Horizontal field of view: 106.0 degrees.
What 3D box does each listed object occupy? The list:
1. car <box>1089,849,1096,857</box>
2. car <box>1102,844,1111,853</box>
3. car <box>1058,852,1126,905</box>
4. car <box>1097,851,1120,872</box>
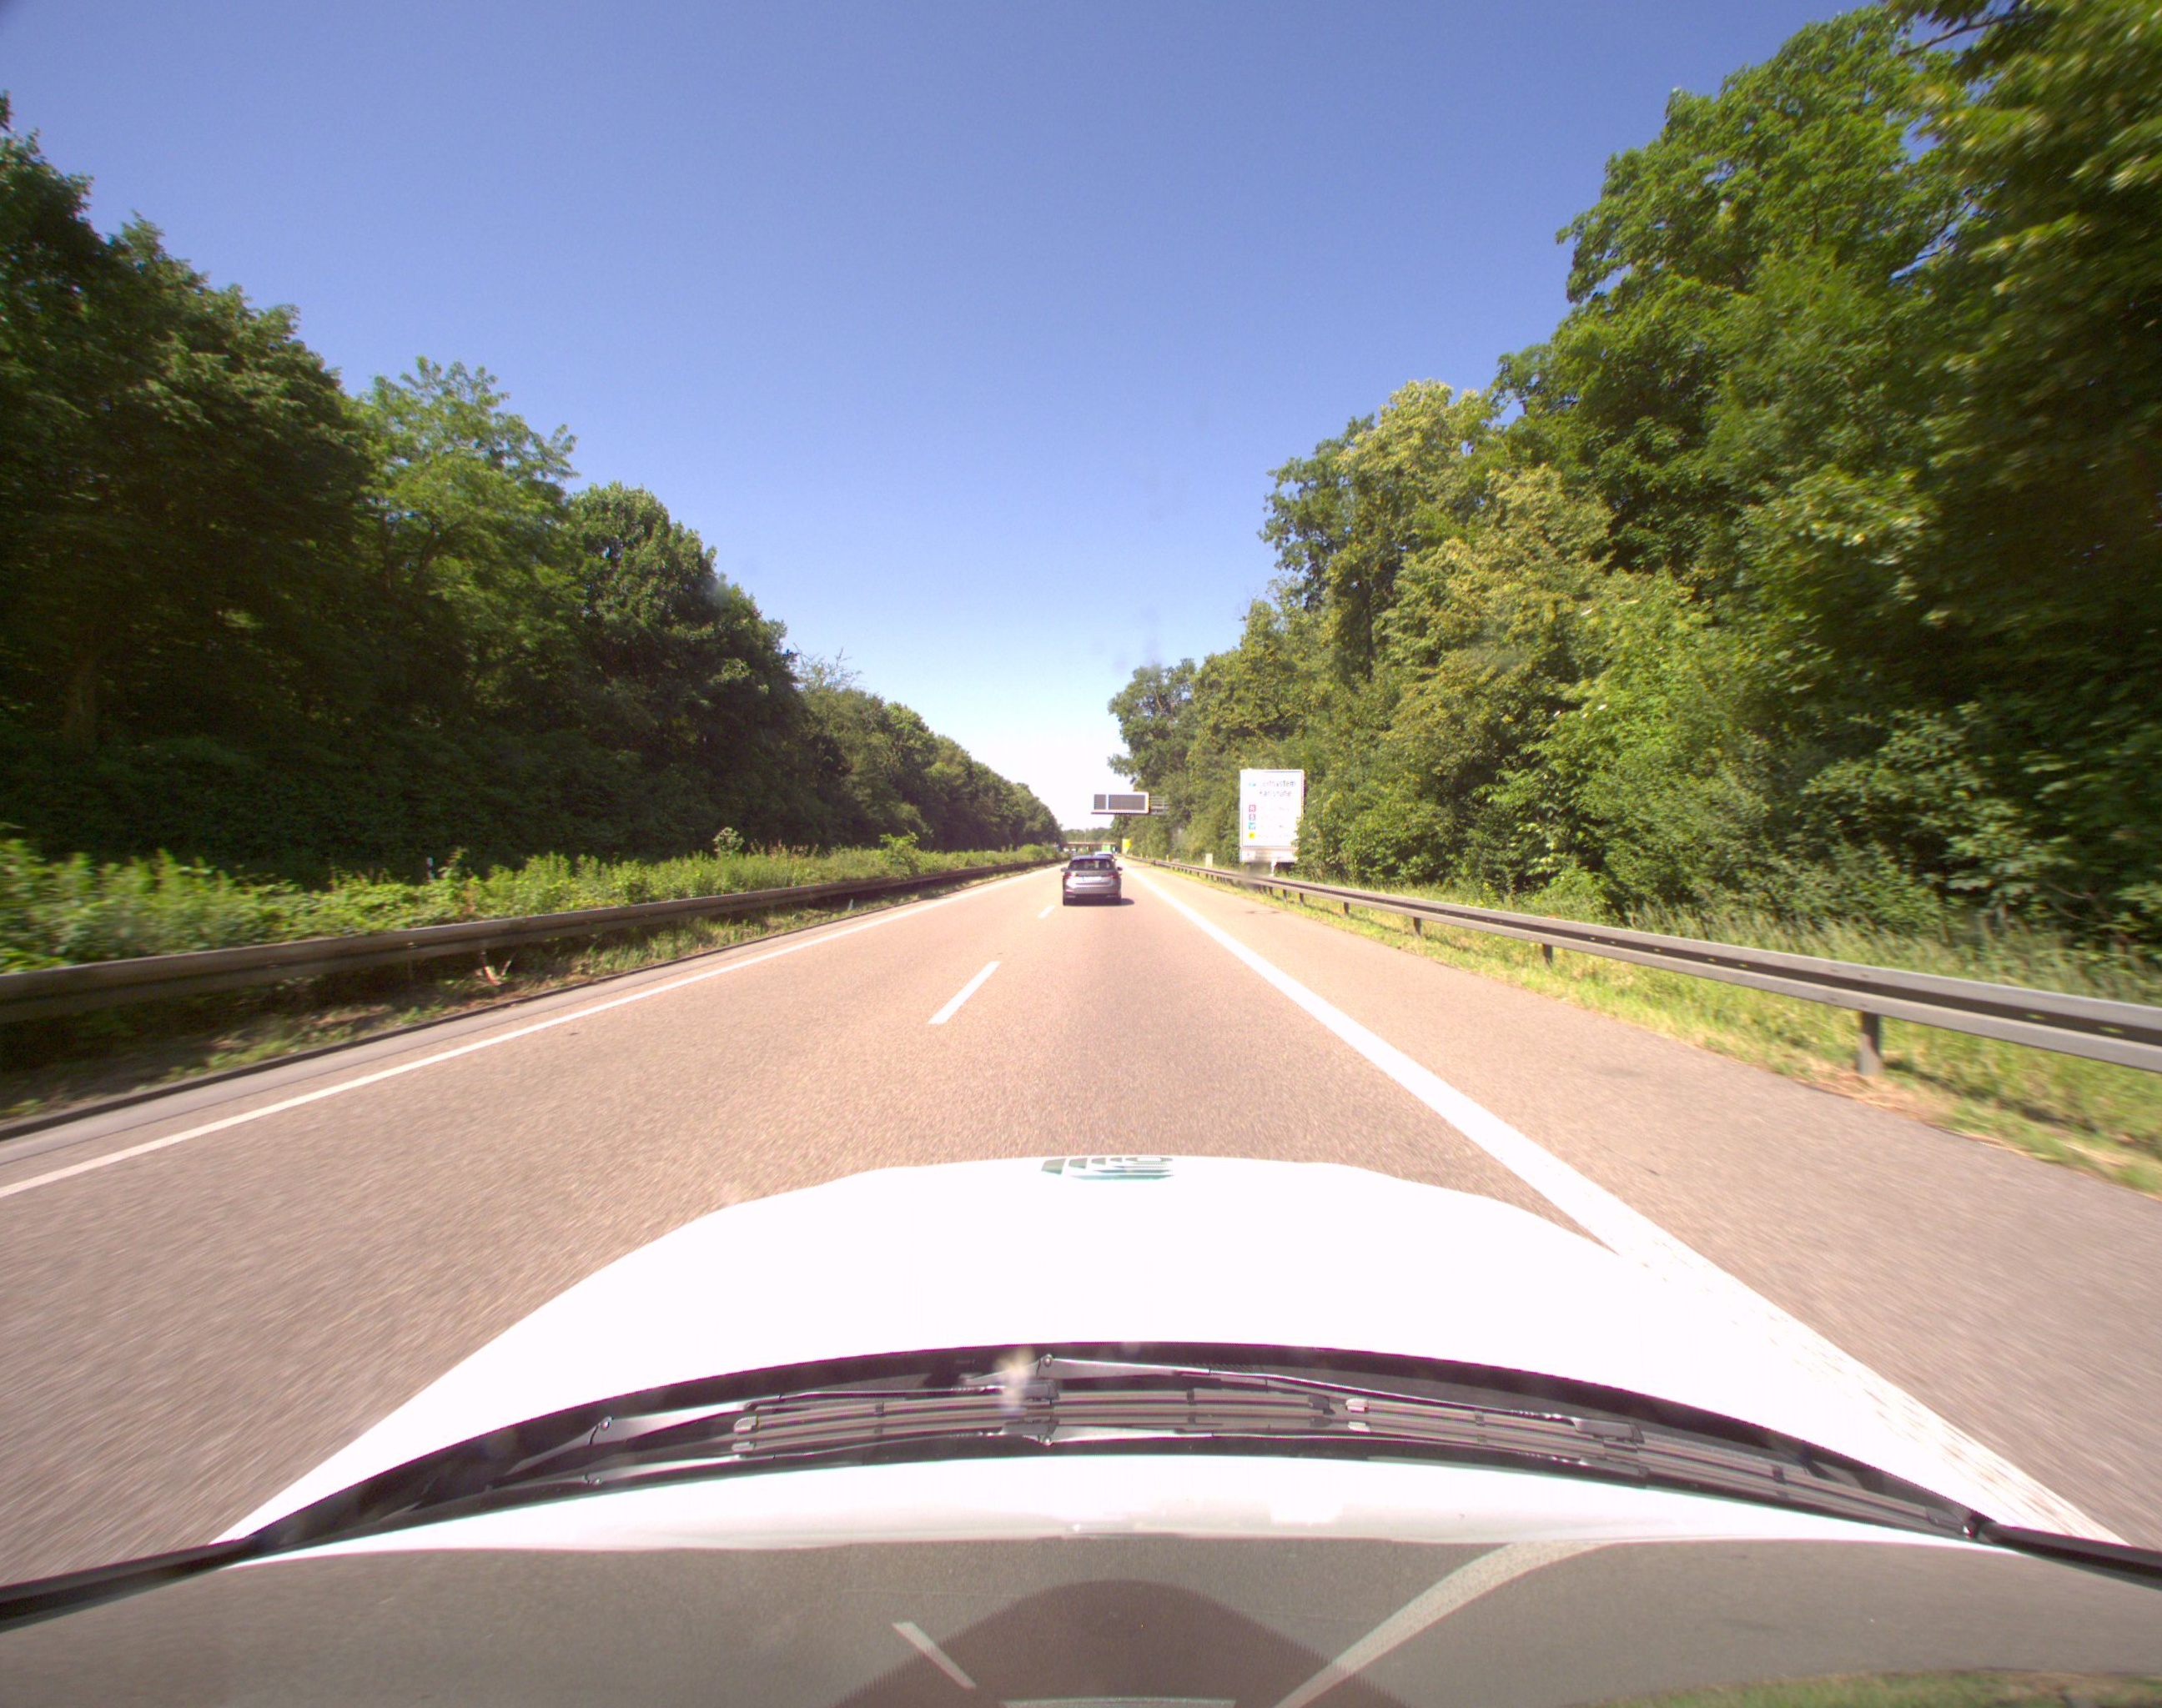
[{"bbox_3d":[3.165,-0.240,221.031,1.986,2.014,4.002,0,0,2],"label":"car"},{"bbox_3d":[7.726,-1.779,247.427,2.738,2.654,4.002,0,0,2],"label":"car"},{"bbox_3d":[0.400,0.674,24.419,1.832,1.472,3.627,0,0,3],"label":"car"},{"bbox_3d":[1.939,0.505,56.324,1.516,1.446,3.343,0,0,3],"label":"car"}]
